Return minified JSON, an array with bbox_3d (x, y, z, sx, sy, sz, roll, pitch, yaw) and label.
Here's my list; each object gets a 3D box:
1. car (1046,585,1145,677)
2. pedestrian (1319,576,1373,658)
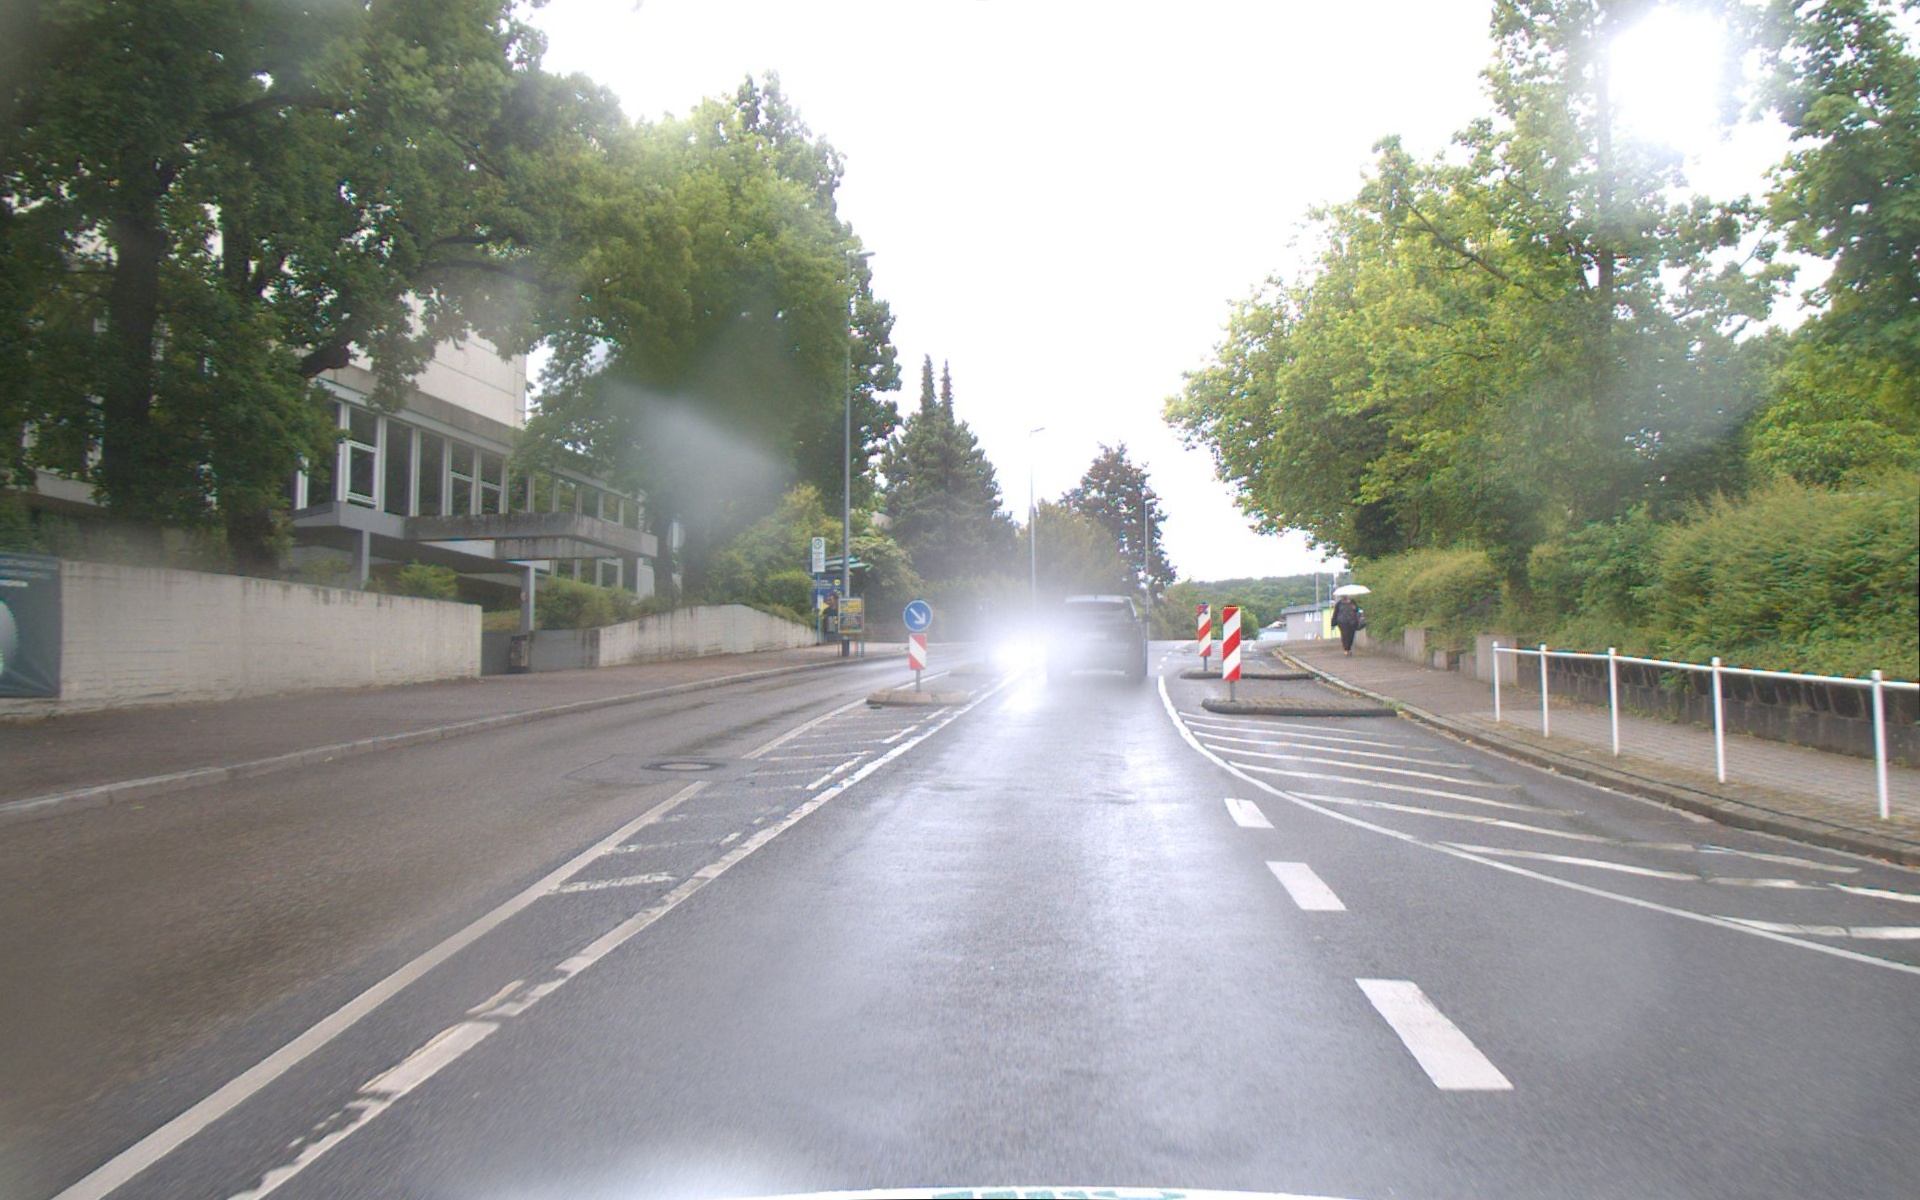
[{"bbox_3d":[2.637,0.543,32.082,1.752,1.631,4.256,-1,0,5],"label":"car"},{"bbox_3d":[9.292,0.424,39.825,1.029,1.927,1.133,0,-3,1],"label":"pedestrian"}]
